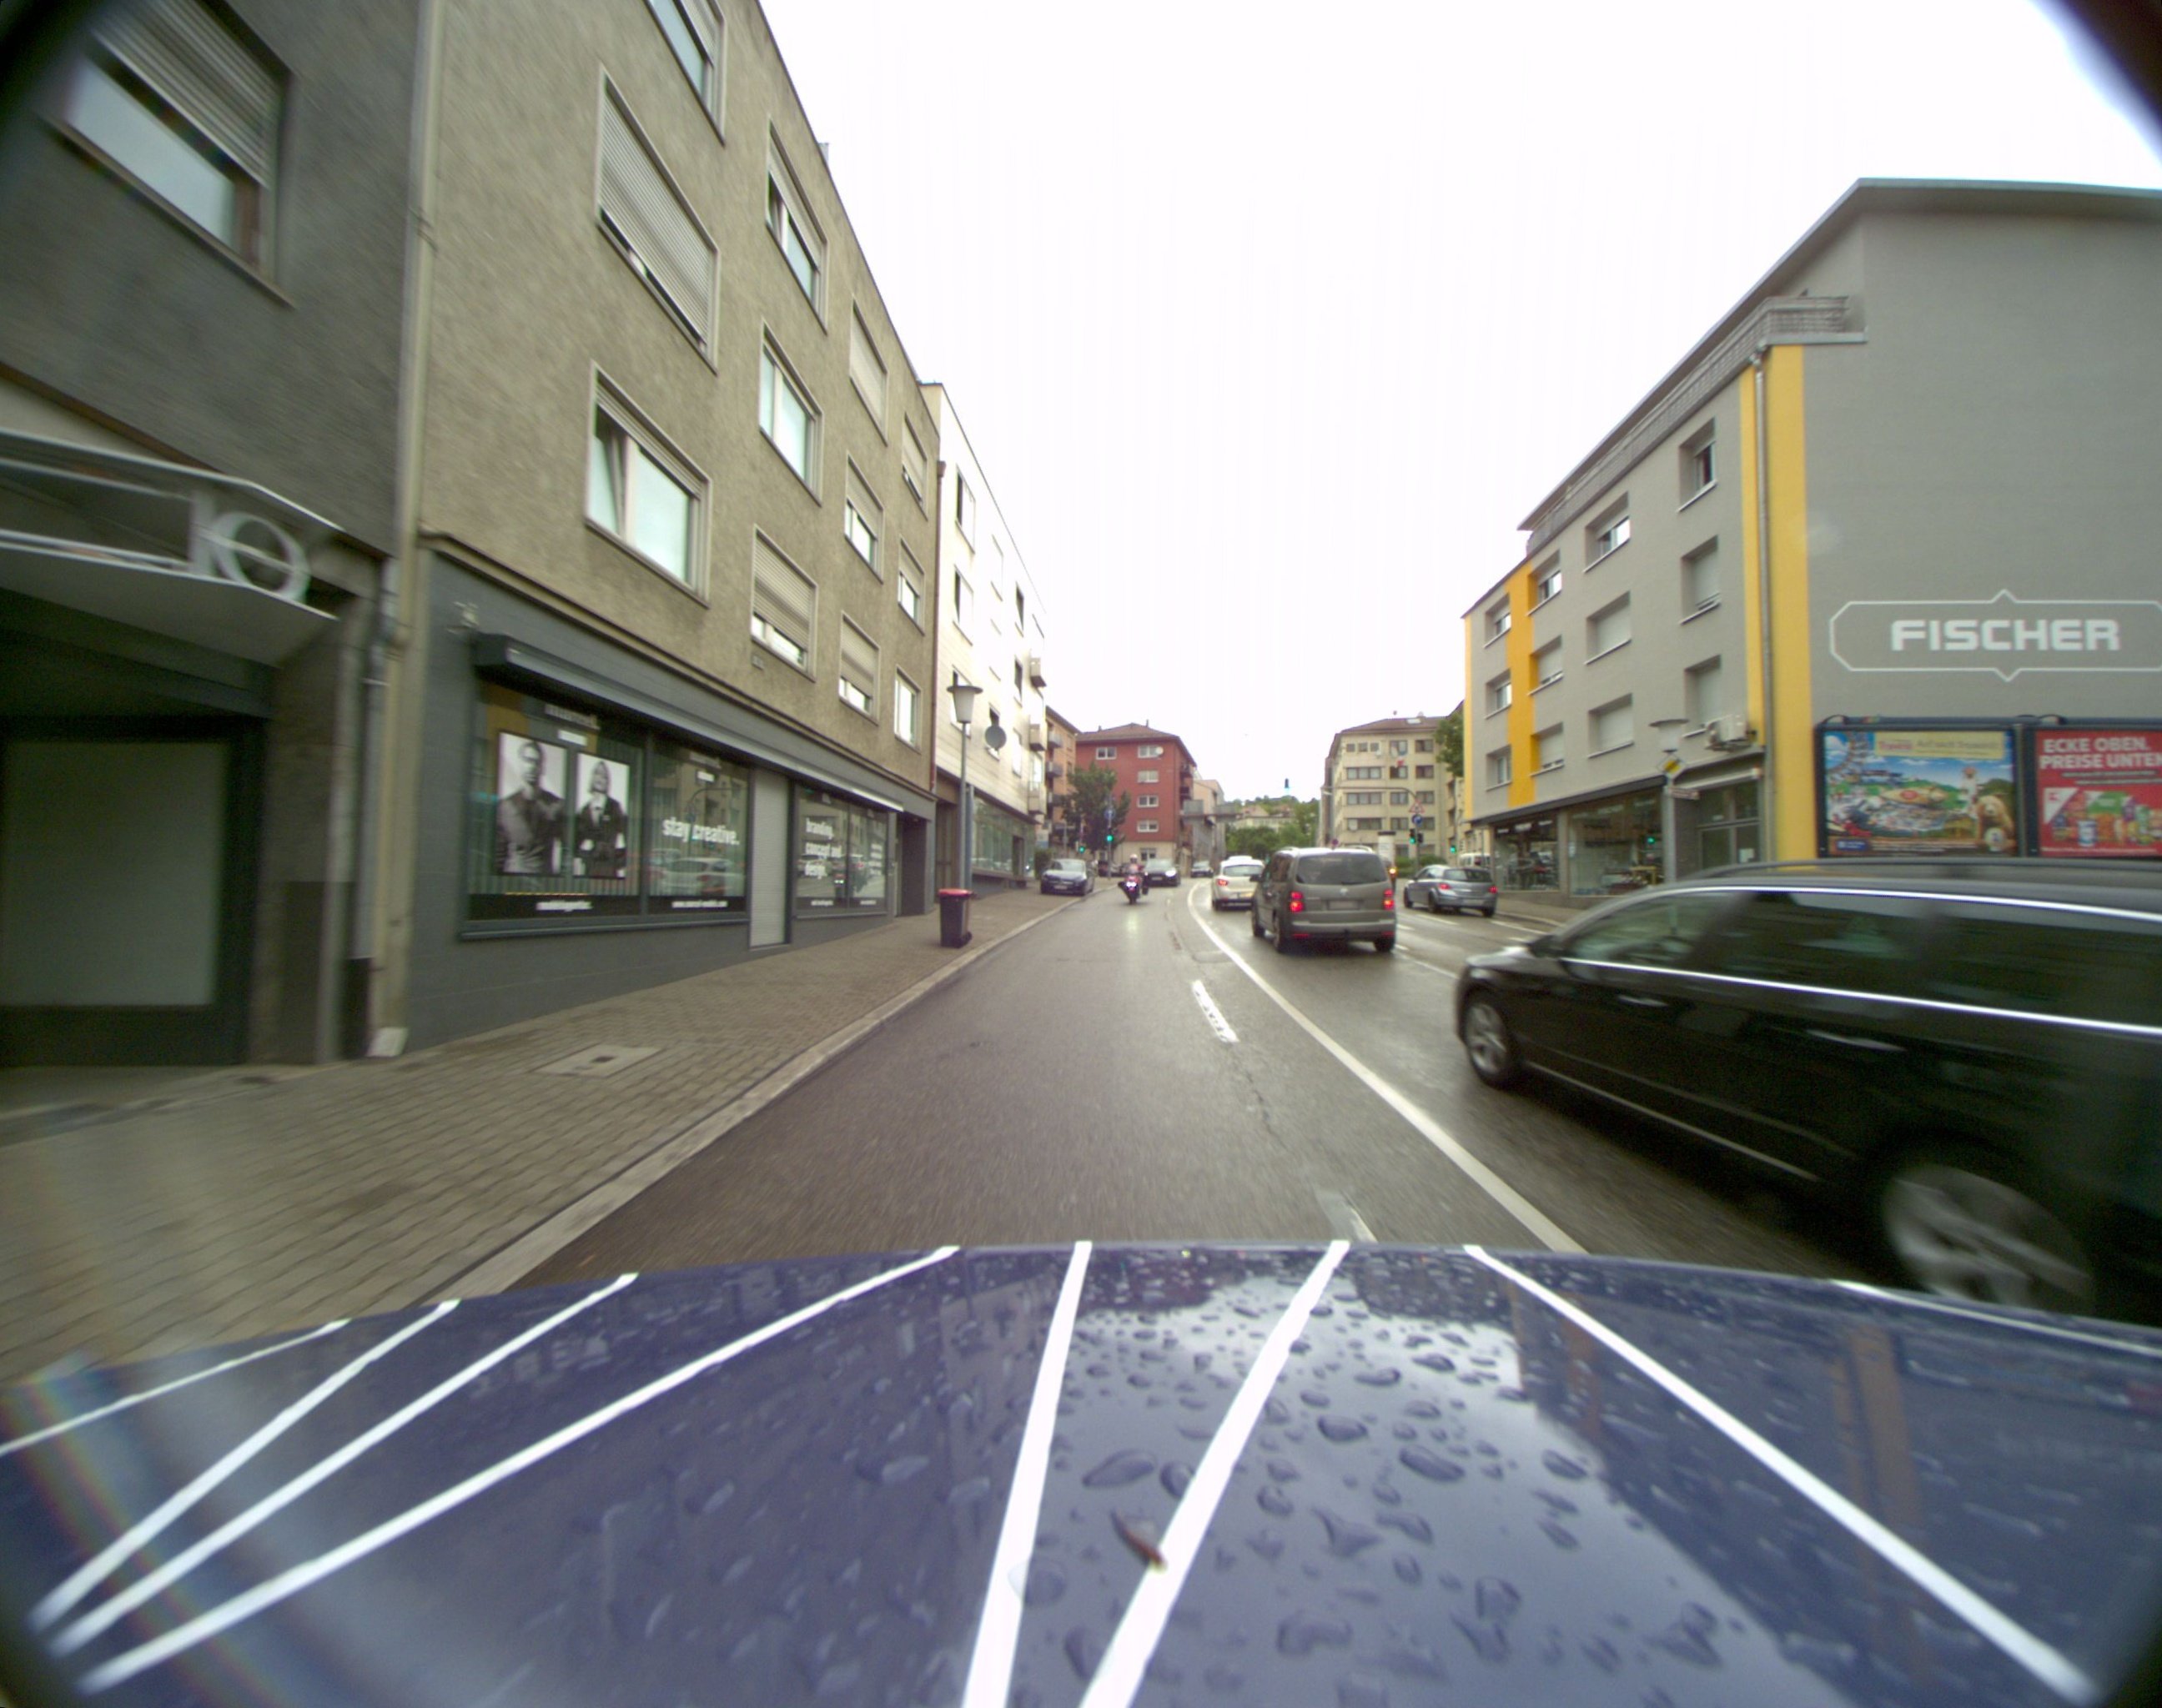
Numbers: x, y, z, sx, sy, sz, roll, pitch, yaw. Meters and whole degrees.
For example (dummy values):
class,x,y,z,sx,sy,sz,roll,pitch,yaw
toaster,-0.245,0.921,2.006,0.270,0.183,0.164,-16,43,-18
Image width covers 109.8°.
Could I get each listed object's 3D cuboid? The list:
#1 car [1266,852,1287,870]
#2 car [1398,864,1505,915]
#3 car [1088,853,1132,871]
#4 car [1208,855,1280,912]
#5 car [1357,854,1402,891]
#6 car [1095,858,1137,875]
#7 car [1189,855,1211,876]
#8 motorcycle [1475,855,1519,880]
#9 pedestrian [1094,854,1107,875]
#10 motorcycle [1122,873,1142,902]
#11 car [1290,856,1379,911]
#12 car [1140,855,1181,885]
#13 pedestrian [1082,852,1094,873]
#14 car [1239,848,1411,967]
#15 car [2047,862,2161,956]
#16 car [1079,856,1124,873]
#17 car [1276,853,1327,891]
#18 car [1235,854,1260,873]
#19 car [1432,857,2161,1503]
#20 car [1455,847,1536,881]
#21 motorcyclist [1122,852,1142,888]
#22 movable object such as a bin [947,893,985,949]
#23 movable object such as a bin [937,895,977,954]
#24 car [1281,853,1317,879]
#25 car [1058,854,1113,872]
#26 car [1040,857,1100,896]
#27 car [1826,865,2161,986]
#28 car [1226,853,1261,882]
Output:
class,x,y,z,sx,sy,sz,roll,pitch,yaw
car,18.732,0.651,73.024,1.822,1.528,4.382,0,1,12
car,11.013,1.117,22.860,1.664,1.378,3.805,-1,-4,6
car,2.931,0.802,76.310,3.990,1.709,1.997,-1,-1,27
car,4.829,0.807,23.010,1.701,1.471,4.292,-2,0,7
car,14.378,0.859,36.752,1.657,1.601,3.933,2,1,17
car,3.618,1.280,78.655,3.990,1.687,1.804,-1,-3,23
car,11.050,1.130,70.367,1.792,1.716,4.007,-1,-4,12
motorcycle,22.167,0.721,40.539,1.990,1.321,0.540,-1,-1,6
pedestrian,1.578,0.884,62.472,0.760,1.636,0.709,4,-3,-20
motorcycle,1.773,1.149,26.483,0.637,0.921,2.365,-2,0,3
car,8.049,0.872,24.479,1.744,1.507,4.132,2,1,5
car,4.242,0.845,39.964,1.873,1.433,4.004,-1,-1,9
pedestrian,0.587,0.729,61.633,0.710,1.636,0.758,4,-3,-12
car,3.981,0.760,13.217,1.810,1.695,4.562,-1,1,4
car,18.047,0.890,11.649,1.694,1.455,3.855,-1,0,3
car,2.034,1.015,73.636,3.992,1.650,1.996,0,-2,15
car,10.699,0.838,37.089,1.809,1.622,4.345,3,1,10
car,13.084,0.716,59.832,1.809,1.407,4.382,0,1,11
car,3.466,0.837,3.240,1.728,1.507,4.368,2,1,-2
car,26.258,0.624,48.202,4.059,1.819,1.731,4,2,-5
motorcyclist,1.771,0.557,26.421,0.654,1.216,0.658,0,0,3
movable object such as a bin,-2.015,1.173,13.341,0.526,0.944,0.538,-1,-4,7
movable object such as a bin,-2.088,1.185,12.803,0.526,0.974,0.538,-1,-4,7
car,13.395,0.729,46.841,1.809,1.533,4.384,0,-1,12
car,0.422,0.870,71.194,4.785,1.545,1.853,1,-1,17
car,-0.368,0.874,31.469,1.767,1.384,4.381,2,1,8
car,14.811,0.956,11.906,1.695,1.446,4.664,-2,0,0
car,9.202,0.701,42.869,1.809,1.512,4.566,0,1,13
